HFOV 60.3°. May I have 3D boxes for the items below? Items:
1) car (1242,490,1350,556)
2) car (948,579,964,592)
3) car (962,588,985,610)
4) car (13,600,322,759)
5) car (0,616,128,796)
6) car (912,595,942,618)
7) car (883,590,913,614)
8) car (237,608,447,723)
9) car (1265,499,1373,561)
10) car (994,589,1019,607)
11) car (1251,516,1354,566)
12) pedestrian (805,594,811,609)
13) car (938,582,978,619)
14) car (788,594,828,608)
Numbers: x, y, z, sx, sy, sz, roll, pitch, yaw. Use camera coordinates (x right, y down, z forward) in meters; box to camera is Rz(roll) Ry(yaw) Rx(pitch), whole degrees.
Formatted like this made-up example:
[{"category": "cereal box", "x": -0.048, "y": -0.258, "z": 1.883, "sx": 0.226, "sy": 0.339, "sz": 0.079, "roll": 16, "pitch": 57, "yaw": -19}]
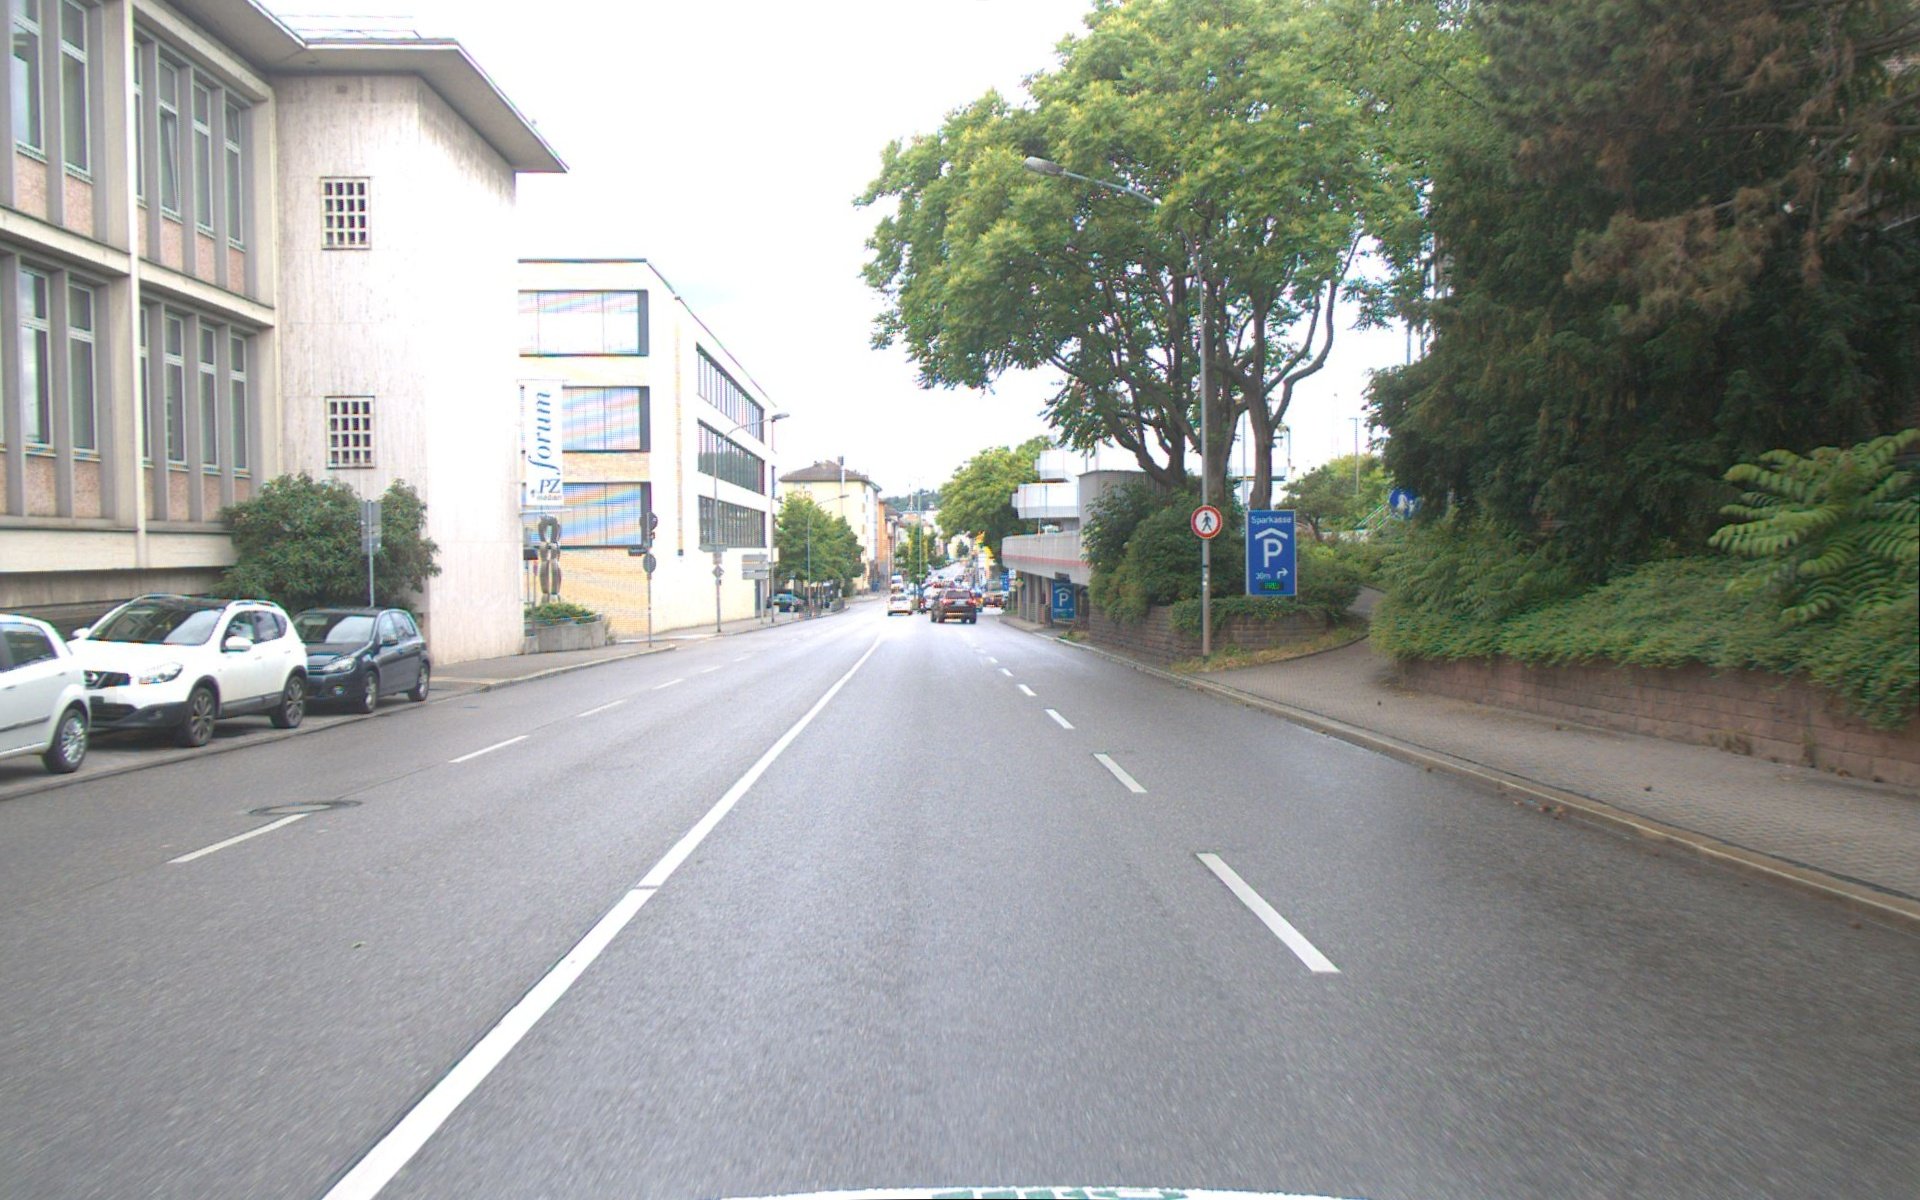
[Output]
[{"category": "car", "x": 11.162, "y": -2.545, "z": 55.044, "sx": 3.376, "sy": 2.049, "sz": 1.655, "roll": -1, "pitch": 0, "yaw": 7}, {"category": "car", "x": -0.602, "y": -2.093, "z": 231.260, "sx": 1.954, "sy": 1.709, "sz": 3.997, "roll": -1, "pitch": 2, "yaw": -4}, {"category": "car", "x": 1.246, "y": -0.101, "z": 155.481, "sx": 2.128, "sy": 2.039, "sz": 4.000, "roll": -1, "pitch": 0, "yaw": 0}, {"category": "car", "x": -9.202, "y": 0.843, "z": 19.618, "sx": 1.712, "sy": 1.625, "sz": 4.180, "roll": 1, "pitch": 0, "yaw": -1}, {"category": "car", "x": -9.053, "y": 0.922, "z": 14.306, "sx": 1.713, "sy": 1.479, "sz": 4.179, "roll": 1, "pitch": 0, "yaw": -2}, {"category": "car", "x": -2.600, "y": 0.487, "z": 129.745, "sx": 1.955, "sy": 1.709, "sz": 3.995, "roll": -1, "pitch": 1, "yaw": -6}, {"category": "car", "x": -4.598, "y": 0.144, "z": 121.697, "sx": 1.955, "sy": 1.709, "sz": 3.995, "roll": -1, "pitch": 0, "yaw": -6}, {"category": "car", "x": -9.134, "y": 0.909, "z": 24.805, "sx": 1.713, "sy": 1.505, "sz": 4.179, "roll": 1, "pitch": 0, "yaw": -2}, {"category": "car", "x": 12.430, "y": -2.414, "z": 57.426, "sx": 3.508, "sy": 2.049, "sz": 1.597, "roll": -1, "pitch": 0, "yaw": 7}, {"category": "car", "x": 4.845, "y": -0.217, "z": 171.820, "sx": 1.951, "sy": 1.709, "sz": 4.004, "roll": -1, "pitch": 0, "yaw": 12}, {"category": "car", "x": 12.473, "y": -2.137, "z": 60.393, "sx": 3.545, "sy": 1.735, "sz": 1.642, "roll": -1, "pitch": 0, "yaw": 7}, {"category": "pedestrian", "x": -13.468, "y": 0.151, "z": 146.342, "sx": 0.444, "sy": 1.300, "sz": 0.454, "roll": -1, "pitch": 0, "yaw": 10}, {"category": "car", "x": -0.106, "y": 0.012, "z": 88.397, "sx": 2.049, "sy": 1.944, "sz": 4.099, "roll": -1, "pitch": 0, "yaw": 0}, {"category": "car", "x": -13.763, "y": 0.085, "z": 149.558, "sx": 3.585, "sy": 1.256, "sz": 1.439, "roll": -1, "pitch": 0, "yaw": -7}]
